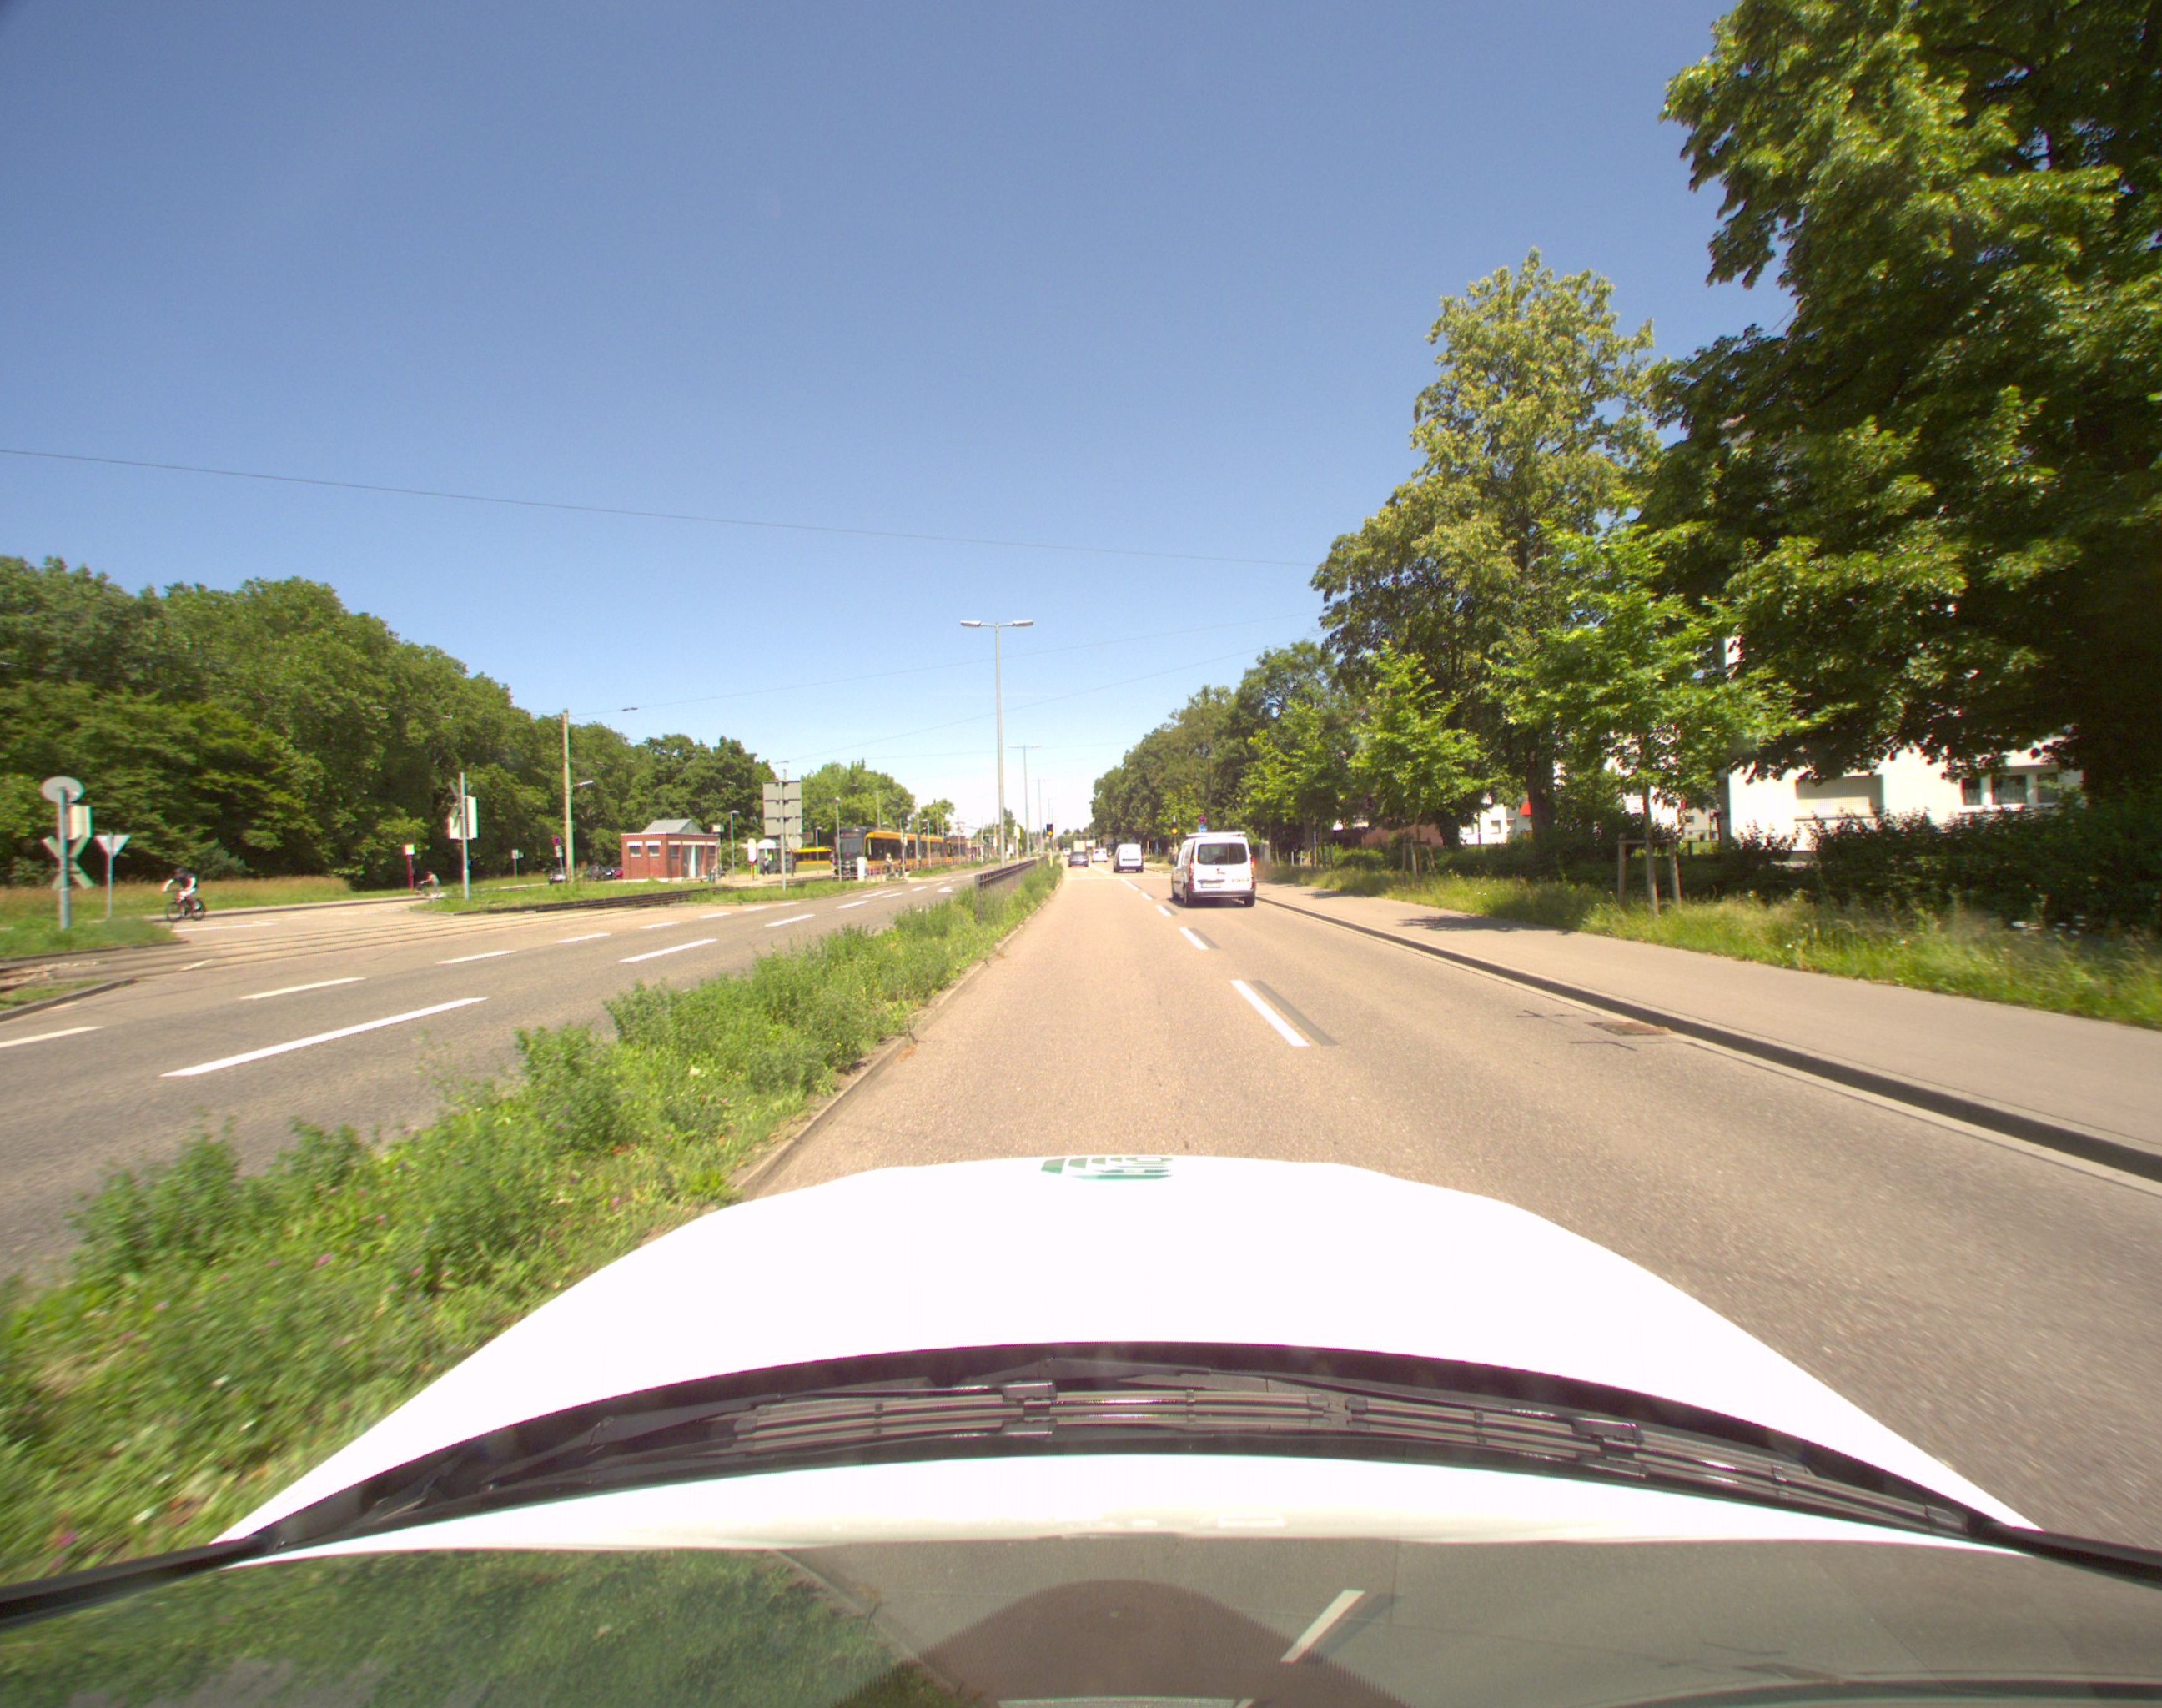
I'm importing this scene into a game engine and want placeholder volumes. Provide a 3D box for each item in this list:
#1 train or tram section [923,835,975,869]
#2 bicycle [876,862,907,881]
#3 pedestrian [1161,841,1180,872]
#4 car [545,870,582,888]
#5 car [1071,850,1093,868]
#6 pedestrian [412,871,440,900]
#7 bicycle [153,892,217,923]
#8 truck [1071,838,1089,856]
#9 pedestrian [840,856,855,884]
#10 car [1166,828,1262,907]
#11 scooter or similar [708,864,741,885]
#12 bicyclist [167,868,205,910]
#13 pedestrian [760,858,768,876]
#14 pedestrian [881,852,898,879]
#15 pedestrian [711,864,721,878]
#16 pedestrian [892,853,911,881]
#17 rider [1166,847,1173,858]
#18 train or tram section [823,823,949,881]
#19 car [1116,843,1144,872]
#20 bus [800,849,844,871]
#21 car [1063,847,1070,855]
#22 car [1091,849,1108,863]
[{"bbox_3d":[-16.331,-0.268,103.612,2.780,3.668,25.985,-1,0,-1],"label":"train or tram section"},{"bbox_3d":[-11.845,1.078,50.893,1.855,1.157,0.243,-2,0,3],"label":"bicycle"},{"bbox_3d":[5.395,0.169,49.183,1.039,1.850,0.759,-1,0,11],"label":"pedestrian"},{"bbox_3d":[-46.054,2.220,72.535,2.001,1.467,3.971,-2,0,-21],"label":"car"},{"bbox_3d":[0.072,0.396,72.093,1.796,1.486,3.999,-2,1,-1],"label":"car"},{"bbox_3d":[-39.943,1.929,49.666,0.511,1.701,1.278,-2,0,44],"label":"pedestrian"},{"bbox_3d":[-29.584,1.741,26.918,0.507,0.901,1.562,-1,0,-6],"label":"bicycle"},{"bbox_3d":[-0.373,-1.549,188.326,3.888,3.812,10.787,-2,0,-1],"label":"truck"},{"bbox_3d":[-13.256,0.910,46.317,0.540,1.541,0.860,-2,0,-34],"label":"pedestrian"},{"bbox_3d":[3.466,0.321,22.019,1.818,1.881,4.455,-1,0,0],"label":"car"},{"bbox_3d":[-21.249,1.216,48.574,0.605,1.127,1.684,-2,0,43],"label":"scooter or similar"},{"bbox_3d":[-29.583,1.144,26.918,0.507,1.335,0.679,-1,0,-7],"label":"bicyclist"},{"bbox_3d":[-25.329,1.029,65.062,0.460,1.435,0.524,-1,0,-3],"label":"pedestrian"},{"bbox_3d":[-11.980,0.727,51.038,0.815,1.628,0.706,-1,0,4],"label":"pedestrian"},{"bbox_3d":[-27.501,1.297,61.439,0.480,1.018,0.522,-2,0,1],"label":"pedestrian"},{"bbox_3d":[-11.695,0.826,53.032,0.949,1.796,0.709,-2,0,28],"label":"pedestrian"},{"bbox_3d":[10.078,-0.190,92.440,0.676,1.281,0.533,-1,0,-2],"label":"rider"},{"bbox_3d":[-15.754,-0.184,71.879,2.780,3.668,37.499,-1,0,-1],"label":"train or tram section"},{"bbox_3d":[3.138,0.189,52.438,1.721,1.813,4.003,-1,1,2],"label":"car"},{"bbox_3d":[-43.605,0.967,137.123,7.465,3.566,2.011,-1,0,23],"label":"bus"},{"bbox_3d":[-3.669,-0.710,204.656,1.683,1.897,3.868,-2,0,-1],"label":"car"},{"bbox_3d":[2.128,0.263,95.280,1.799,1.540,3.997,-2,0,-2],"label":"car"}]
